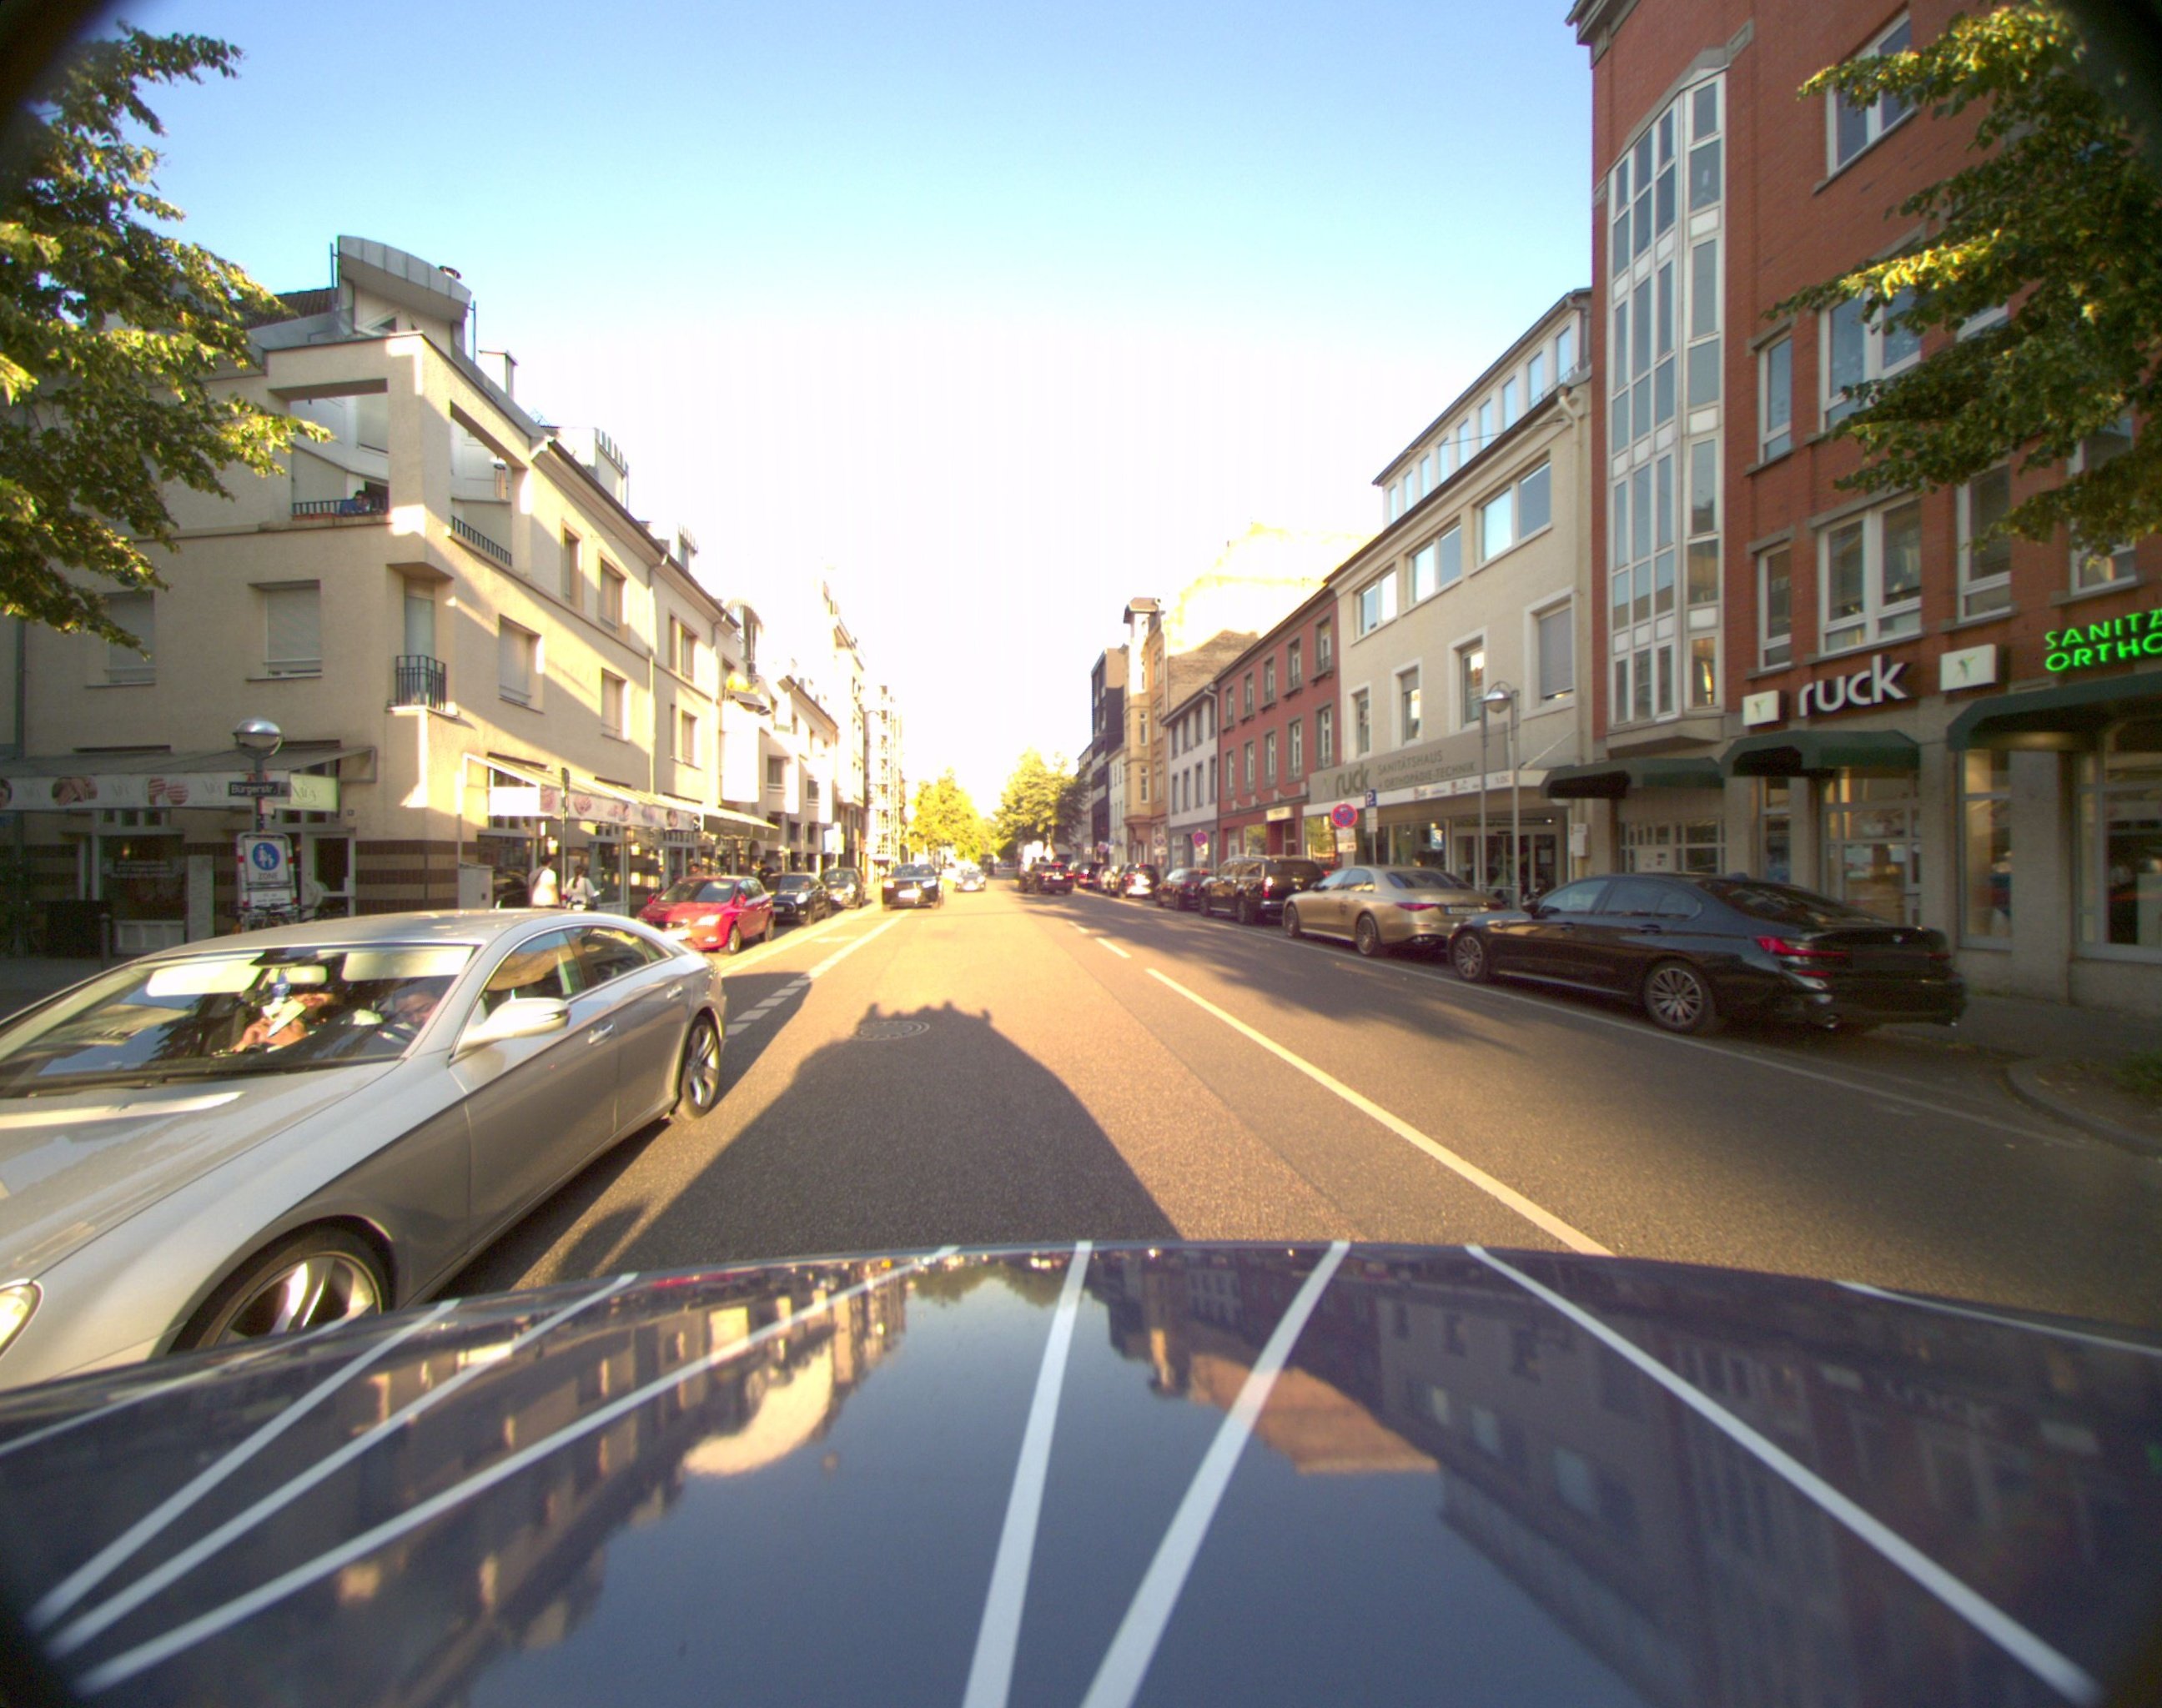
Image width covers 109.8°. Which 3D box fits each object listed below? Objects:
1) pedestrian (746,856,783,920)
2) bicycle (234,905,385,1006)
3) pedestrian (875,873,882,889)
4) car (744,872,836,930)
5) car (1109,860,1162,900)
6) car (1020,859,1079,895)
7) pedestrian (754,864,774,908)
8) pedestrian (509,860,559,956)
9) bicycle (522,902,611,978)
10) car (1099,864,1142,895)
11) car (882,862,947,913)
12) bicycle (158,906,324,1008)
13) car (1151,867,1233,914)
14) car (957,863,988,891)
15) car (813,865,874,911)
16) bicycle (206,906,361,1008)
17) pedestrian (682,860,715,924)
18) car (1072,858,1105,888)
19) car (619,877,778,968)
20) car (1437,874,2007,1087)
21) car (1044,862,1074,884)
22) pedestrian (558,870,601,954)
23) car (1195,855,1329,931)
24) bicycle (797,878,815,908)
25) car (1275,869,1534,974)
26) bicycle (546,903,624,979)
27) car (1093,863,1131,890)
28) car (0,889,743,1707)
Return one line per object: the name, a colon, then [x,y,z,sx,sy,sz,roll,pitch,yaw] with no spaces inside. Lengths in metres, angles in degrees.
pedestrian: [-9.649,1.035,23.204,0.779,1.872,0.669,-4,1,-8]
bicycle: [-10.306,1.310,10.243,0.322,1.098,1.878,-1,0,-7]
pedestrian: [-16.493,2.216,61.917,0.492,1.256,0.421,-2,1,-7]
car: [-8.201,1.273,21.731,1.622,1.425,3.923,0,0,-8]
car: [2.435,1.150,35.058,1.726,1.673,4.047,2,-1,-6]
car: [-1.660,1.112,38.479,1.737,1.665,4.288,0,0,-20]
pedestrian: [-12.922,1.296,31.000,0.576,1.789,0.450,-2,1,-7]
pedestrian: [-10.301,1.006,14.319,0.545,1.748,0.502,2,0,-8]
bicycle: [-8.373,1.364,12.447,0.315,1.040,1.881,0,0,-5]
car: [2.042,1.302,40.049,1.690,1.461,3.689,2,-1,-6]
car: [-5.948,1.154,27.523,1.891,1.626,4.224,-2,0,-8]
bicycle: [-11.099,1.310,10.132,0.322,1.098,1.878,-1,0,-7]
car: [3.768,1.217,26.478,1.707,1.429,4.012,2,-1,-8]
car: [-6.237,1.293,43.623,1.623,1.465,3.686,-2,0,-8]
car: [-9.038,1.243,29.234,1.622,1.583,3.923,-1,0,-8]
bicycle: [-10.613,1.320,10.205,0.291,1.098,1.886,-1,0,-7]
pedestrian: [-10.640,1.044,21.163,0.631,1.739,0.669,0,0,-8]
car: [0.428,1.148,47.856,1.674,1.763,3.563,2,-1,-6]
car: [-7.202,1.217,14.735,1.594,1.425,3.923,0,0,-8]
car: [5.868,1.011,7.904,1.726,1.464,4.538,2,-1,-7]
car: [-1.626,1.333,54.902,1.674,1.512,3.562,1,0,-8]
pedestrian: [-9.686,1.108,14.694,0.521,1.583,0.408,2,0,-8]
car: [4.642,0.956,20.329,1.726,1.768,4.935,1,-1,-9]
bicycle: [-10.609,1.510,29.343,0.296,1.079,1.462,-1,0,-7]
car: [5.352,1.033,13.545,2.000,1.463,5.104,1,-1,-6]
bicycle: [-8.031,1.372,12.373,0.315,1.040,1.664,0,0,-5]
car: [1.735,1.295,44.132,1.674,1.448,3.563,2,-1,-6]
car: [-3.025,1.035,3.106,1.748,1.393,4.634,-2,2,-8]
